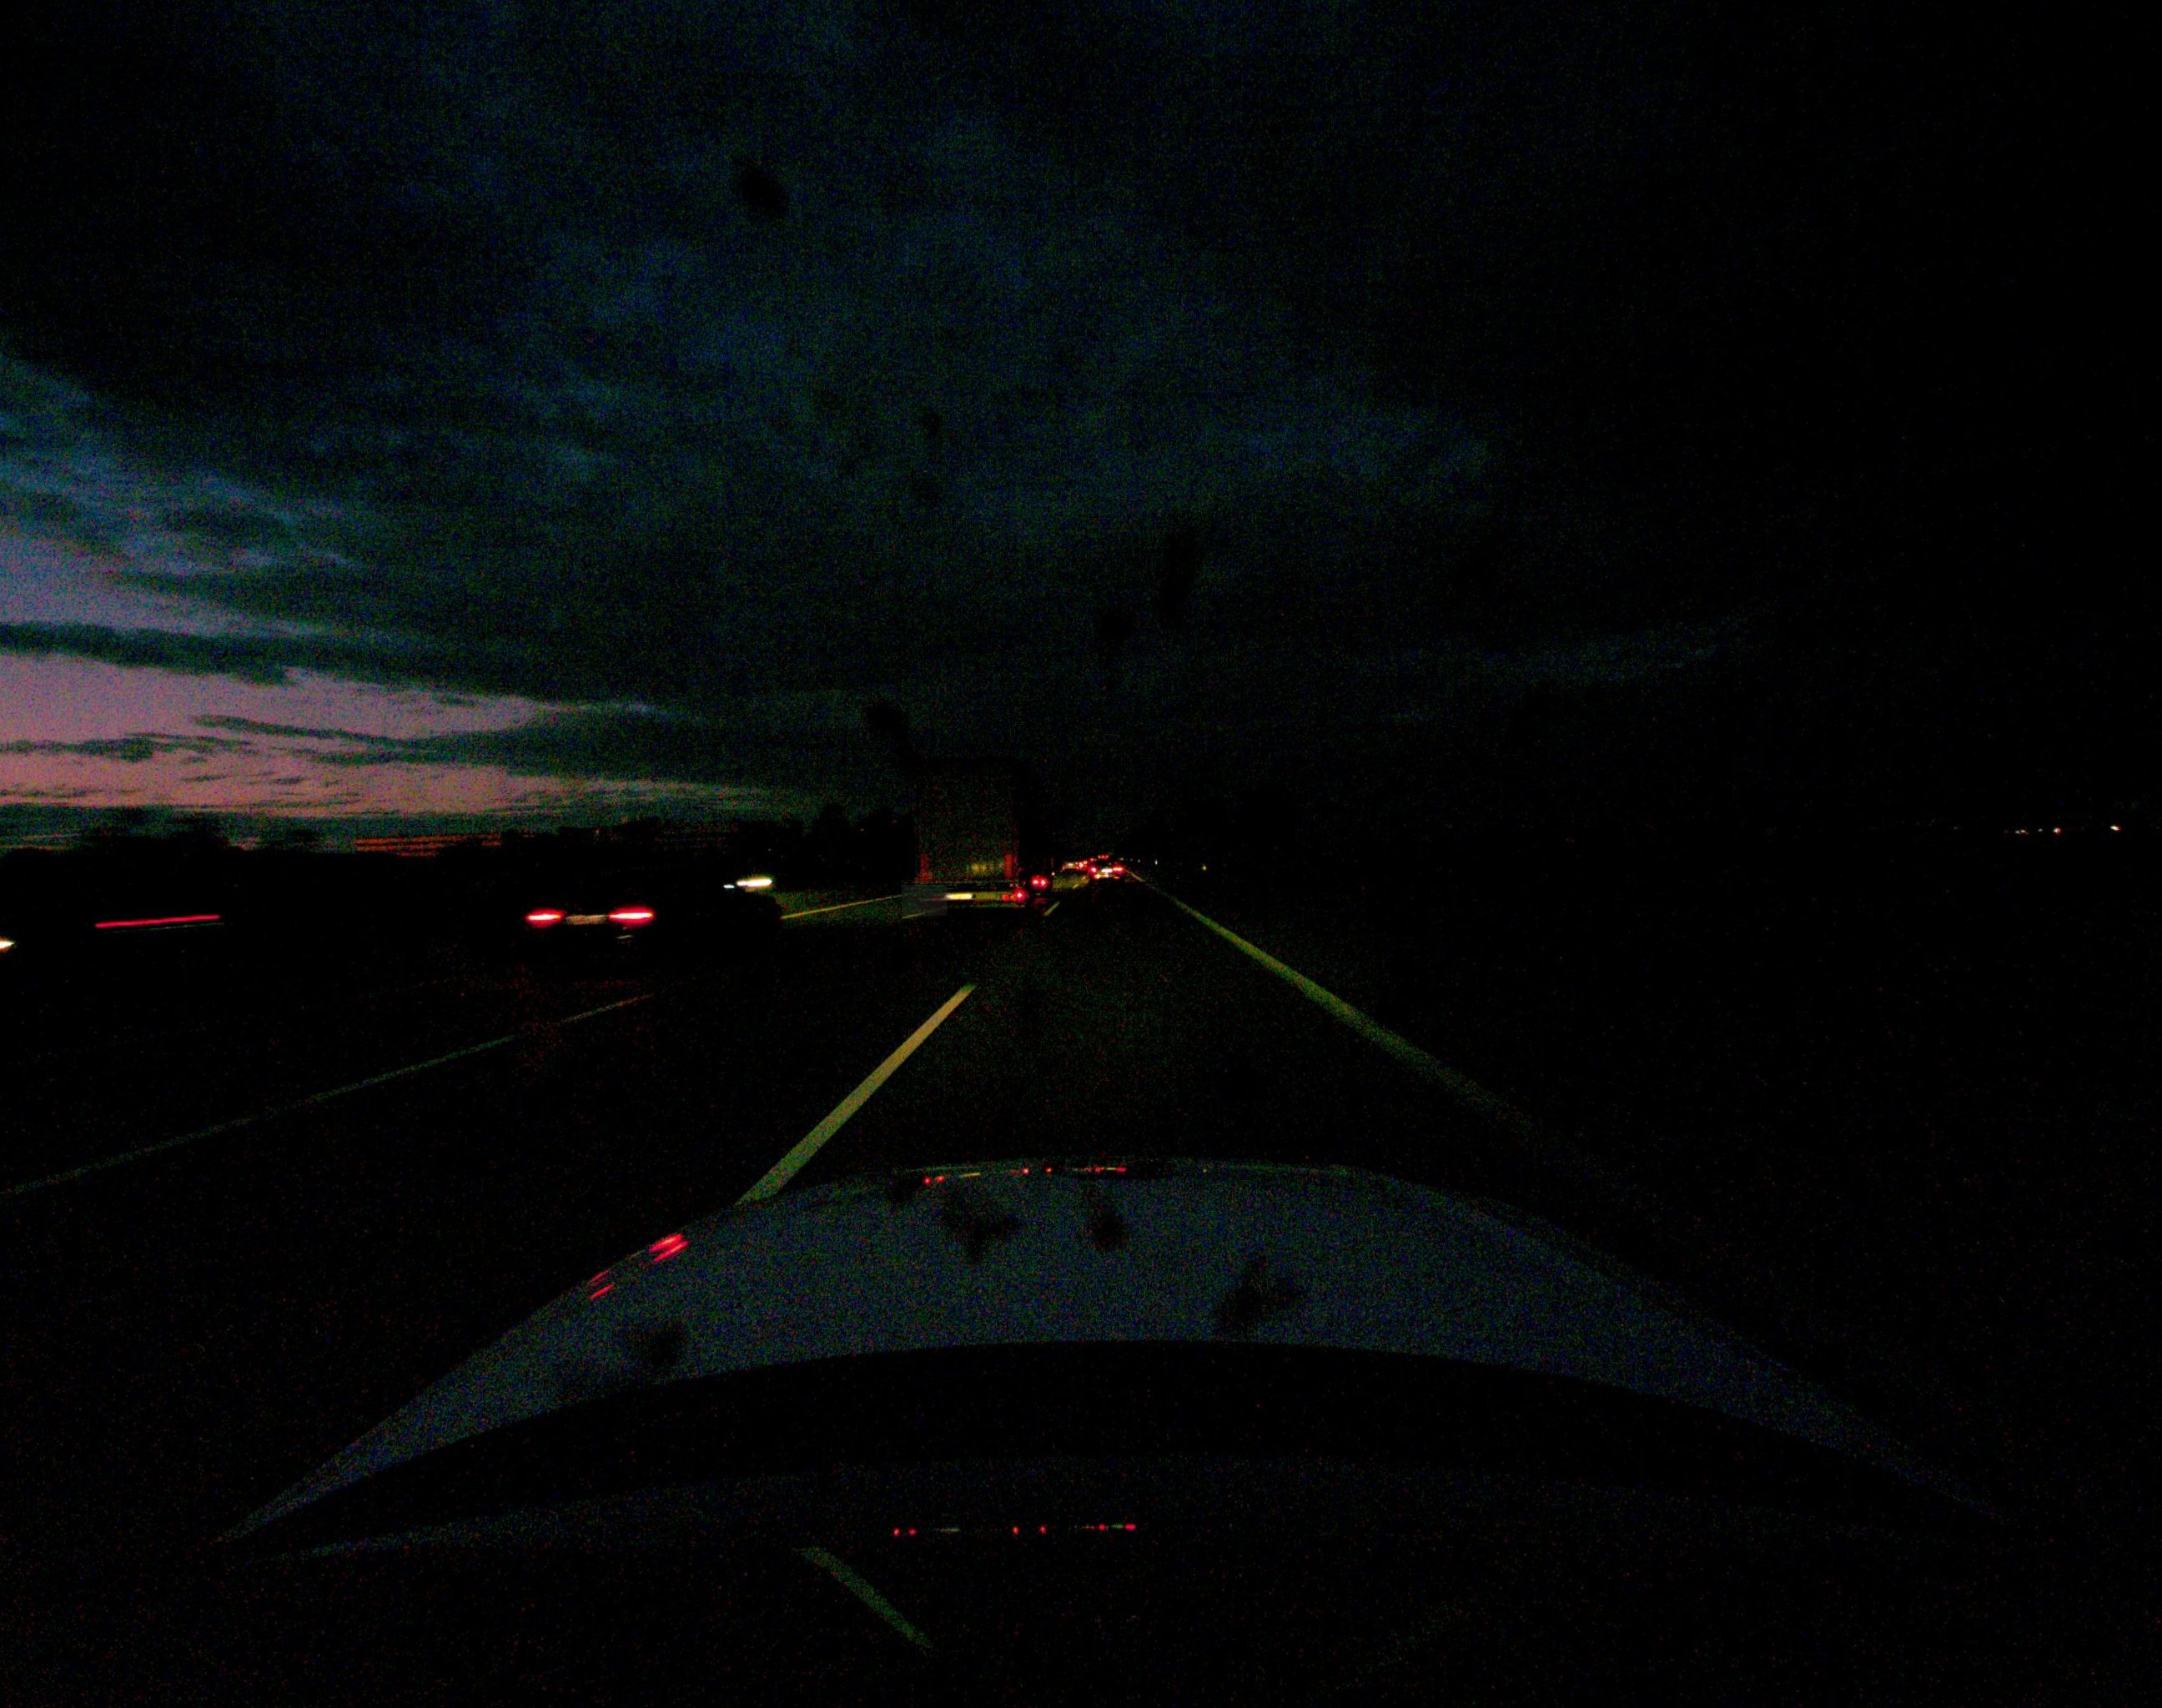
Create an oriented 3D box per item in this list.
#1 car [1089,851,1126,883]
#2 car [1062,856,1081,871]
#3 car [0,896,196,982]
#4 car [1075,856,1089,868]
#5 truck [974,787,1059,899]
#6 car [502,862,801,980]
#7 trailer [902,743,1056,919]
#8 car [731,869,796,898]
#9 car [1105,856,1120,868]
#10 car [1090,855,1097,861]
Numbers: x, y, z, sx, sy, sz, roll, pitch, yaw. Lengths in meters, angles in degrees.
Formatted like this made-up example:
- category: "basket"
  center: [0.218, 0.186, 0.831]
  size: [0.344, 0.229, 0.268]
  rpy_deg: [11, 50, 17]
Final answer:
- category: "car"
  center: [1.397, 0.690, 43.452]
  size: [1.873, 1.643, 4.001]
  rpy_deg: [0, -1, 2]
- category: "car"
  center: [-0.961, 0.994, 86.013]
  size: [1.737, 1.525, 4.416]
  rpy_deg: [0, -1, 2]
- category: "car"
  center: [-22.024, 1.756, 17.150]
  size: [1.737, 1.535, 4.522]
  rpy_deg: [0, -1, 2]
- category: "car"
  center: [0.151, 1.070, 107.732]
  size: [1.716, 1.471, 4.727]
  rpy_deg: [0, -1, 2]
- category: "truck"
  center: [-2.481, -0.393, 33.364]
  size: [2.768, 4.093, 6.104]
  rpy_deg: [-1, -1, 1]
- category: "car"
  center: [-6.394, 0.882, 13.067]
  size: [1.807, 1.437, 5.396]
  rpy_deg: [0, 0, 2]
- category: "trailer"
  center: [-2.637, -0.473, 26.522]
  size: [2.784, 4.085, 14.528]
  rpy_deg: [-2, -1, 1]
- category: "car"
  center: [-17.557, 1.594, 45.301]
  size: [1.737, 1.499, 4.522]
  rpy_deg: [0, -1, 2]
- category: "car"
  center: [4.141, 1.035, 107.601]
  size: [1.873, 1.552, 4.001]
  rpy_deg: [0, -1, 1]
- category: "car"
  center: [3.588, 1.195, 229.323]
  size: [1.873, 1.552, 4.001]
  rpy_deg: [0, -1, 1]
